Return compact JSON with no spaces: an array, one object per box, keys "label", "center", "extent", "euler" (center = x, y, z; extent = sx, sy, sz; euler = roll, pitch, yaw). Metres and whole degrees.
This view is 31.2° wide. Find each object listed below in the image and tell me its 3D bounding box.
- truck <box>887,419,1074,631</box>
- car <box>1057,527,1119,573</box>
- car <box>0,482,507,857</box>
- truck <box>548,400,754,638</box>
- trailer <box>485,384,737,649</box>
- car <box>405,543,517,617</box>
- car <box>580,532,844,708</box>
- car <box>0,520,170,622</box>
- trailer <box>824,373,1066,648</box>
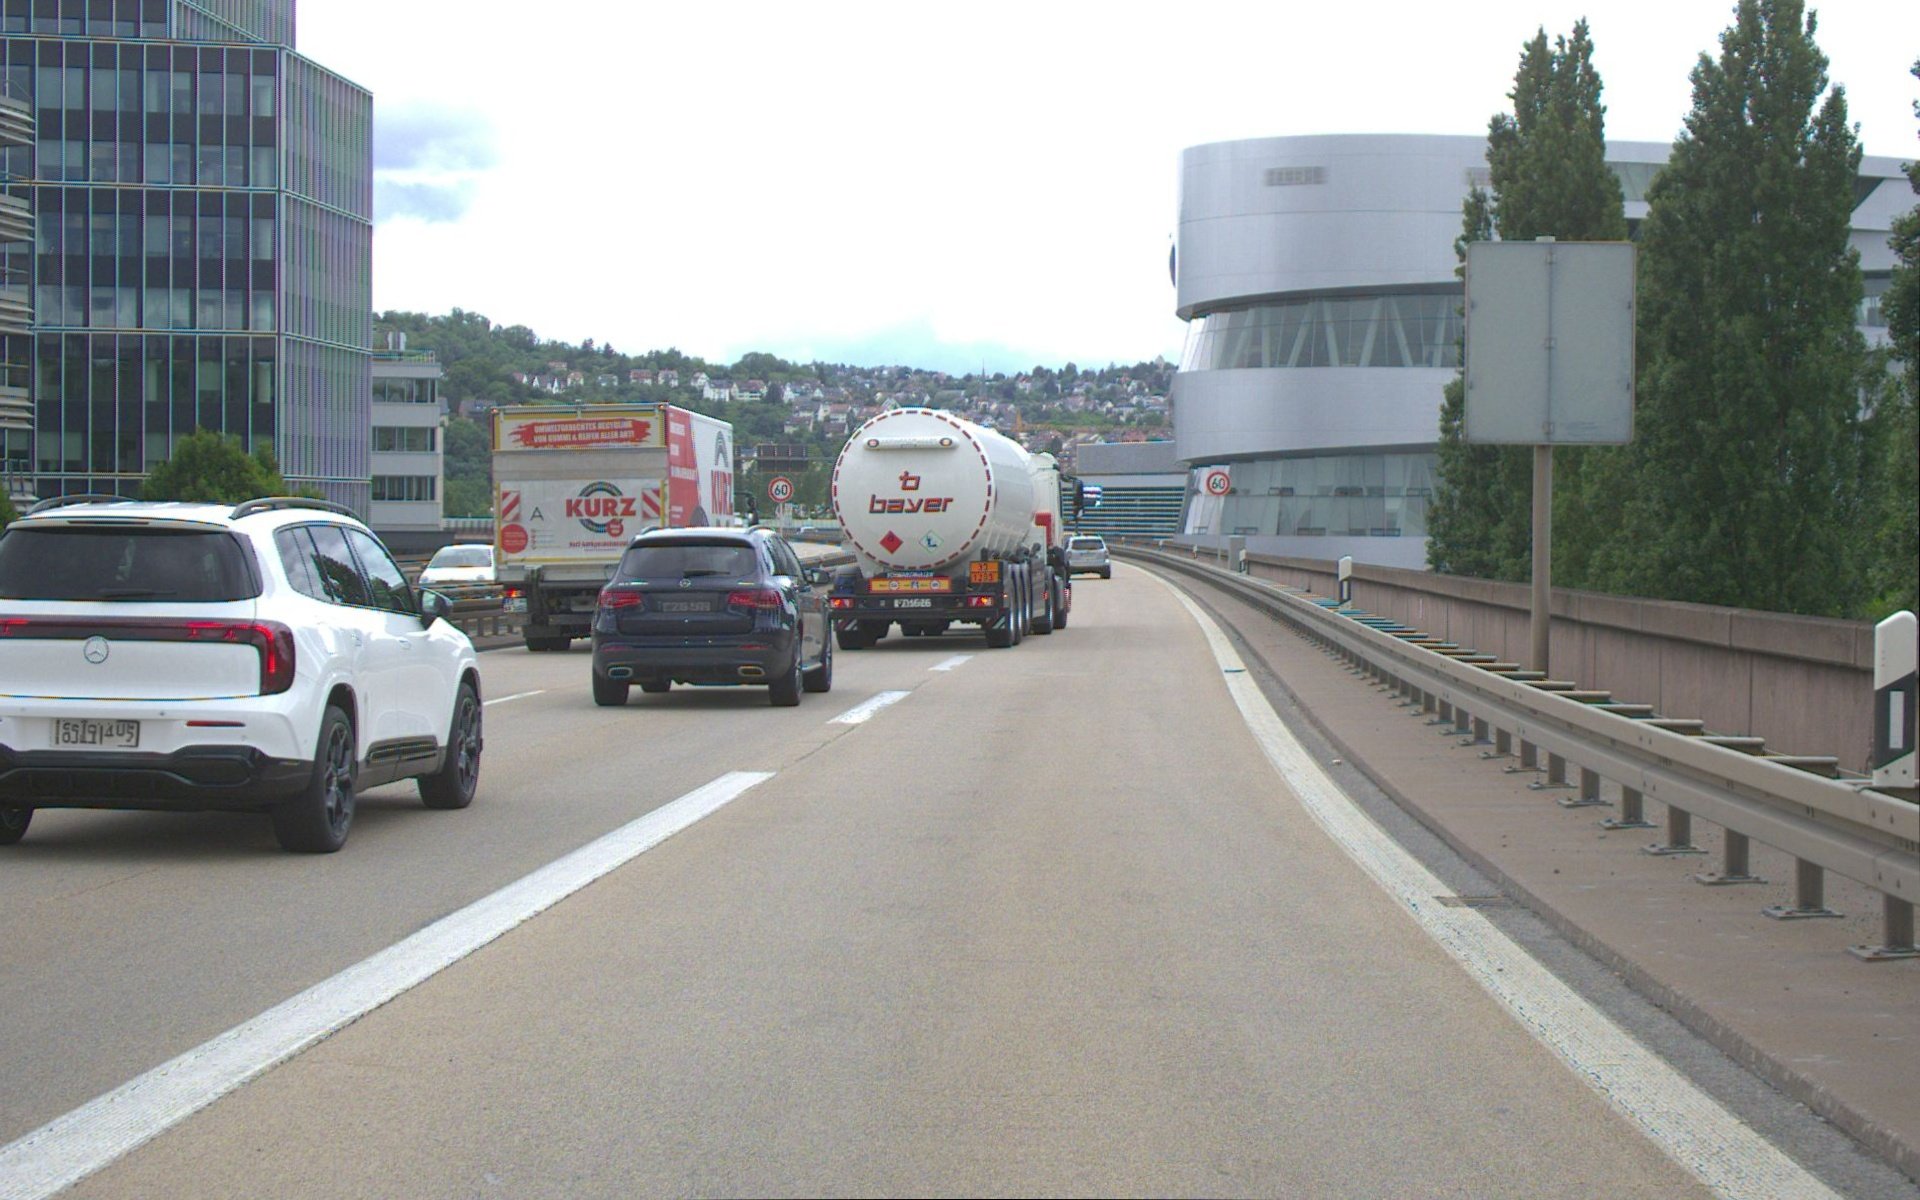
[{"label":"truck","center":[0.435,-1.280,59.430],"extent":[2.769,3.418,5.964],"euler":[-1,1,4]},{"label":"car","center":[5.008,-1.950,133.966],"extent":[1.994,1.533,3.999],"euler":[6,0,6]},{"label":"car","center":[-3.824,0.282,17.886],"extent":[1.994,1.663,4.891],"euler":[1,1,4]},{"label":"truck","center":[-4.992,-1.310,56.285],"extent":[2.691,3.677,4.439],"euler":[-1,1,3]},{"label":"trailer","center":[-5.165,-1.244,52.156],"extent":[2.690,3.677,7.313],"euler":[-1,1,3]},{"label":"car","center":[-11.014,-0.470,76.094],"extent":[1.749,1.555,4.000],"euler":[-1,1,2]},{"label":"car","center":[-2.253,0.157,32.372],"extent":[1.847,1.499,4.265],"euler":[1,1,4]},{"label":"car","center":[-15.502,-0.536,60.715],"extent":[1.867,1.706,4.601],"euler":[-1,1,2]},{"label":"trailer","center":[-0.041,-1.340,52.912],"extent":[2.792,3.724,11.154],"euler":[-1,1,4]}]
